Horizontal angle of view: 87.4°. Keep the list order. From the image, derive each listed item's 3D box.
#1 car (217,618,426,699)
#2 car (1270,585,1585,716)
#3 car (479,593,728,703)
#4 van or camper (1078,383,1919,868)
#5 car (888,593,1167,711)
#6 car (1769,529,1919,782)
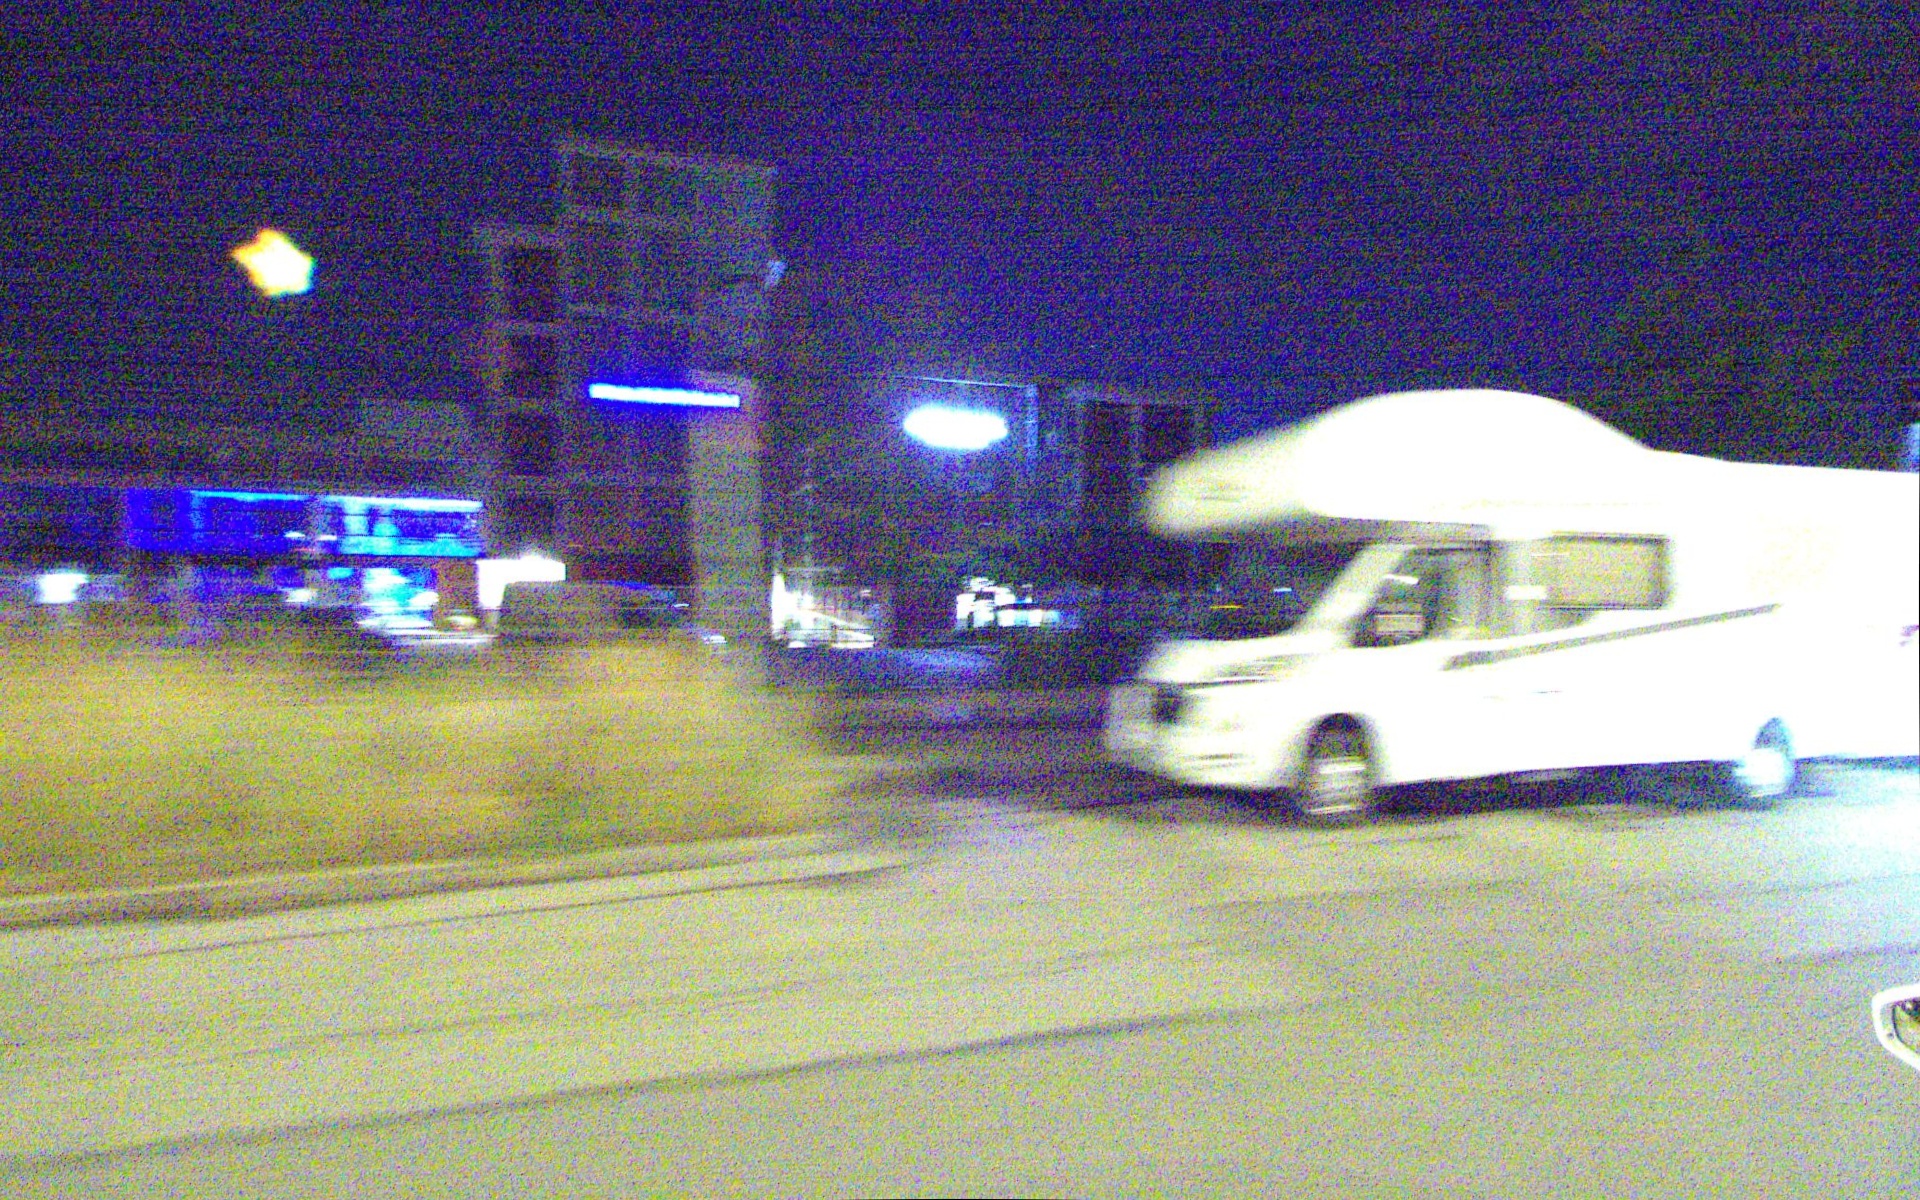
[{"bbox_3d":[-16.936,1.506,26.767,4.392,1.910,2.001,1,2,7],"label":"car"},{"bbox_3d":[11.084,1.144,24.282,6.544,2.880,2.001,1,2,7],"label":"car"},{"bbox_3d":[-9.155,1.165,26.054,5.759,2.589,2.001,1,2,7],"label":"car"},{"bbox_3d":[4.909,0.224,8.779,7.324,3.135,2.518,1,-1,-17],"label":"van or camper"},{"bbox_3d":[1.660,1.201,24.669,6.544,2.589,2.001,1,2,7],"label":"car"},{"bbox_3d":[13.229,0.629,11.813,6.982,2.640,2.516,1,-1,-19],"label":"car"}]
